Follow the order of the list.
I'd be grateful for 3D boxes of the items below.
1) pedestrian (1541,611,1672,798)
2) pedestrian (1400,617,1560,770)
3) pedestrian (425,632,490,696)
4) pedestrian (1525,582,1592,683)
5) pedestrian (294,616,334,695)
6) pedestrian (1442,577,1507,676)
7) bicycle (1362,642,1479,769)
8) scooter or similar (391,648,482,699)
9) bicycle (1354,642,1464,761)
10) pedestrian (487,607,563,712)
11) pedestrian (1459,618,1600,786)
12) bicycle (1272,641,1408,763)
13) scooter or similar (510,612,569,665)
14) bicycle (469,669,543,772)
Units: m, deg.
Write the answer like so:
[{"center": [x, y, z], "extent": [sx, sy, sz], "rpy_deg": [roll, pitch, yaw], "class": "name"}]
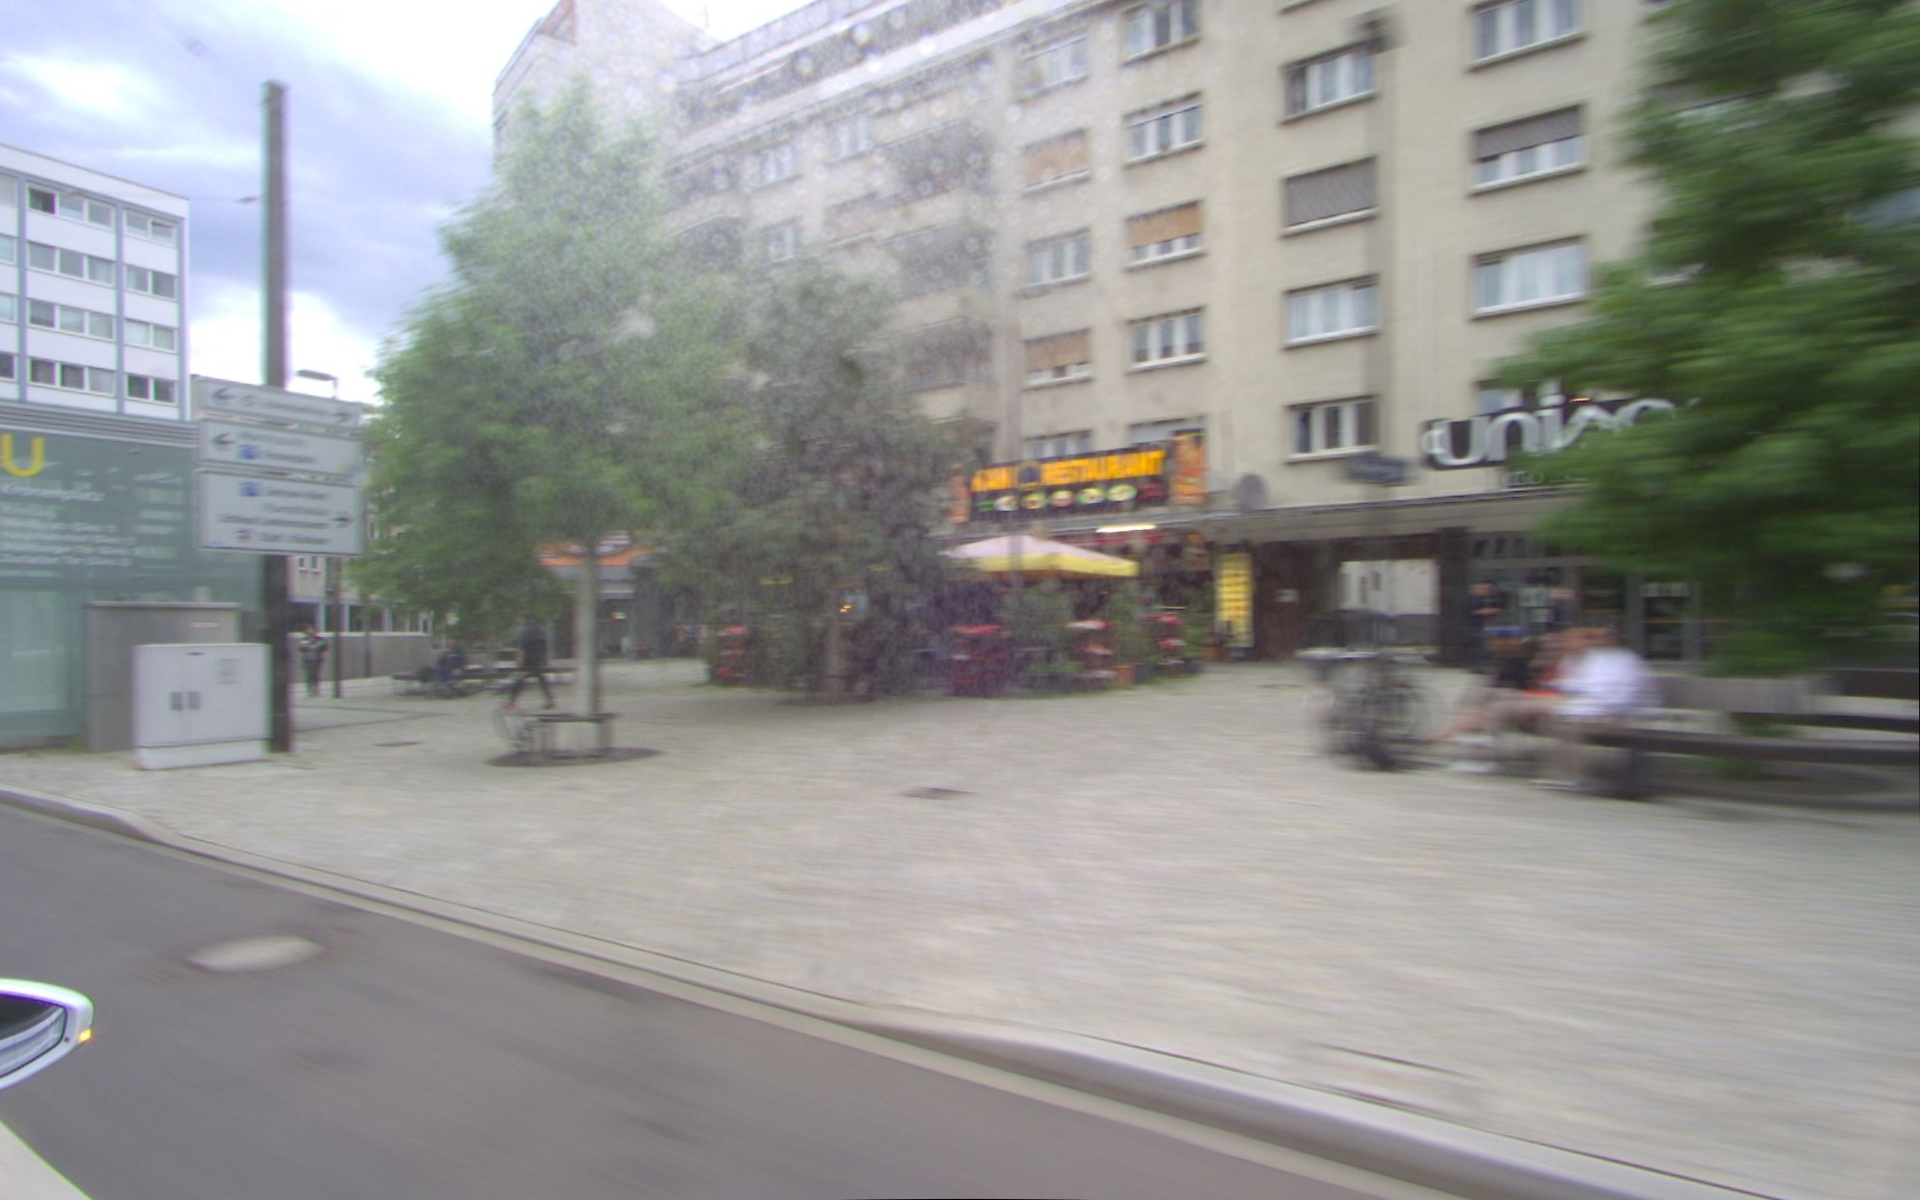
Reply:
[{"center": [5.022, 0.788, 7.817], "extent": [0.675, 1.383, 0.629], "rpy_deg": [0, -2, 14], "class": "pedestrian"}, {"center": [5.033, 0.875, 9.748], "extent": [0.538, 1.383, 1.270], "rpy_deg": [2, -2, -39], "class": "pedestrian"}, {"center": [-10.960, 1.376, 21.844], "extent": [0.724, 1.314, 1.040], "rpy_deg": [-1, 0, 38], "class": "pedestrian"}, {"center": [10.923, 0.578, 18.290], "extent": [0.762, 1.775, 0.716], "rpy_deg": [-2, 1, -19], "class": "pedestrian"}, {"center": [-14.939, 1.274, 23.161], "extent": [0.666, 1.784, 0.636], "rpy_deg": [2, -2, -42], "class": "pedestrian"}, {"center": [10.168, 0.538, 19.804], "extent": [0.762, 1.909, 0.851], "rpy_deg": [1, -2, -18], "class": "pedestrian"}, {"center": [4.616, 1.010, 9.999], "extent": [1.589, 1.125, 0.473], "rpy_deg": [-1, 0, -42], "class": "bicycle"}, {"center": [-10.843, 1.514, 20.792], "extent": [1.564, 0.961, 0.723], "rpy_deg": [-1, 0, -19], "class": "scooter or similar"}, {"center": [4.815, 1.043, 10.694], "extent": [1.589, 1.125, 0.473], "rpy_deg": [-1, 0, -42], "class": "bicycle"}, {"center": [-7.896, 1.058, 18.180], "extent": [1.063, 1.826, 0.711], "rpy_deg": [-2, 1, 32], "class": "pedestrian"}, {"center": [4.992, 0.864, 8.793], "extent": [0.623, 1.383, 0.912], "rpy_deg": [2, -2, -39], "class": "pedestrian"}, {"center": [4.065, 1.031, 10.624], "extent": [2.019, 1.125, 0.473], "rpy_deg": [-1, 0, -42], "class": "bicycle"}, {"center": [-14.949, 1.346, 35.558], "extent": [2.249, 1.830, 1.078], "rpy_deg": [-1, -1, 42], "class": "scooter or similar"}, {"center": [-5.192, 1.325, 11.402], "extent": [0.650, 0.991, 1.747], "rpy_deg": [0, -1, -28], "class": "bicycle"}]
